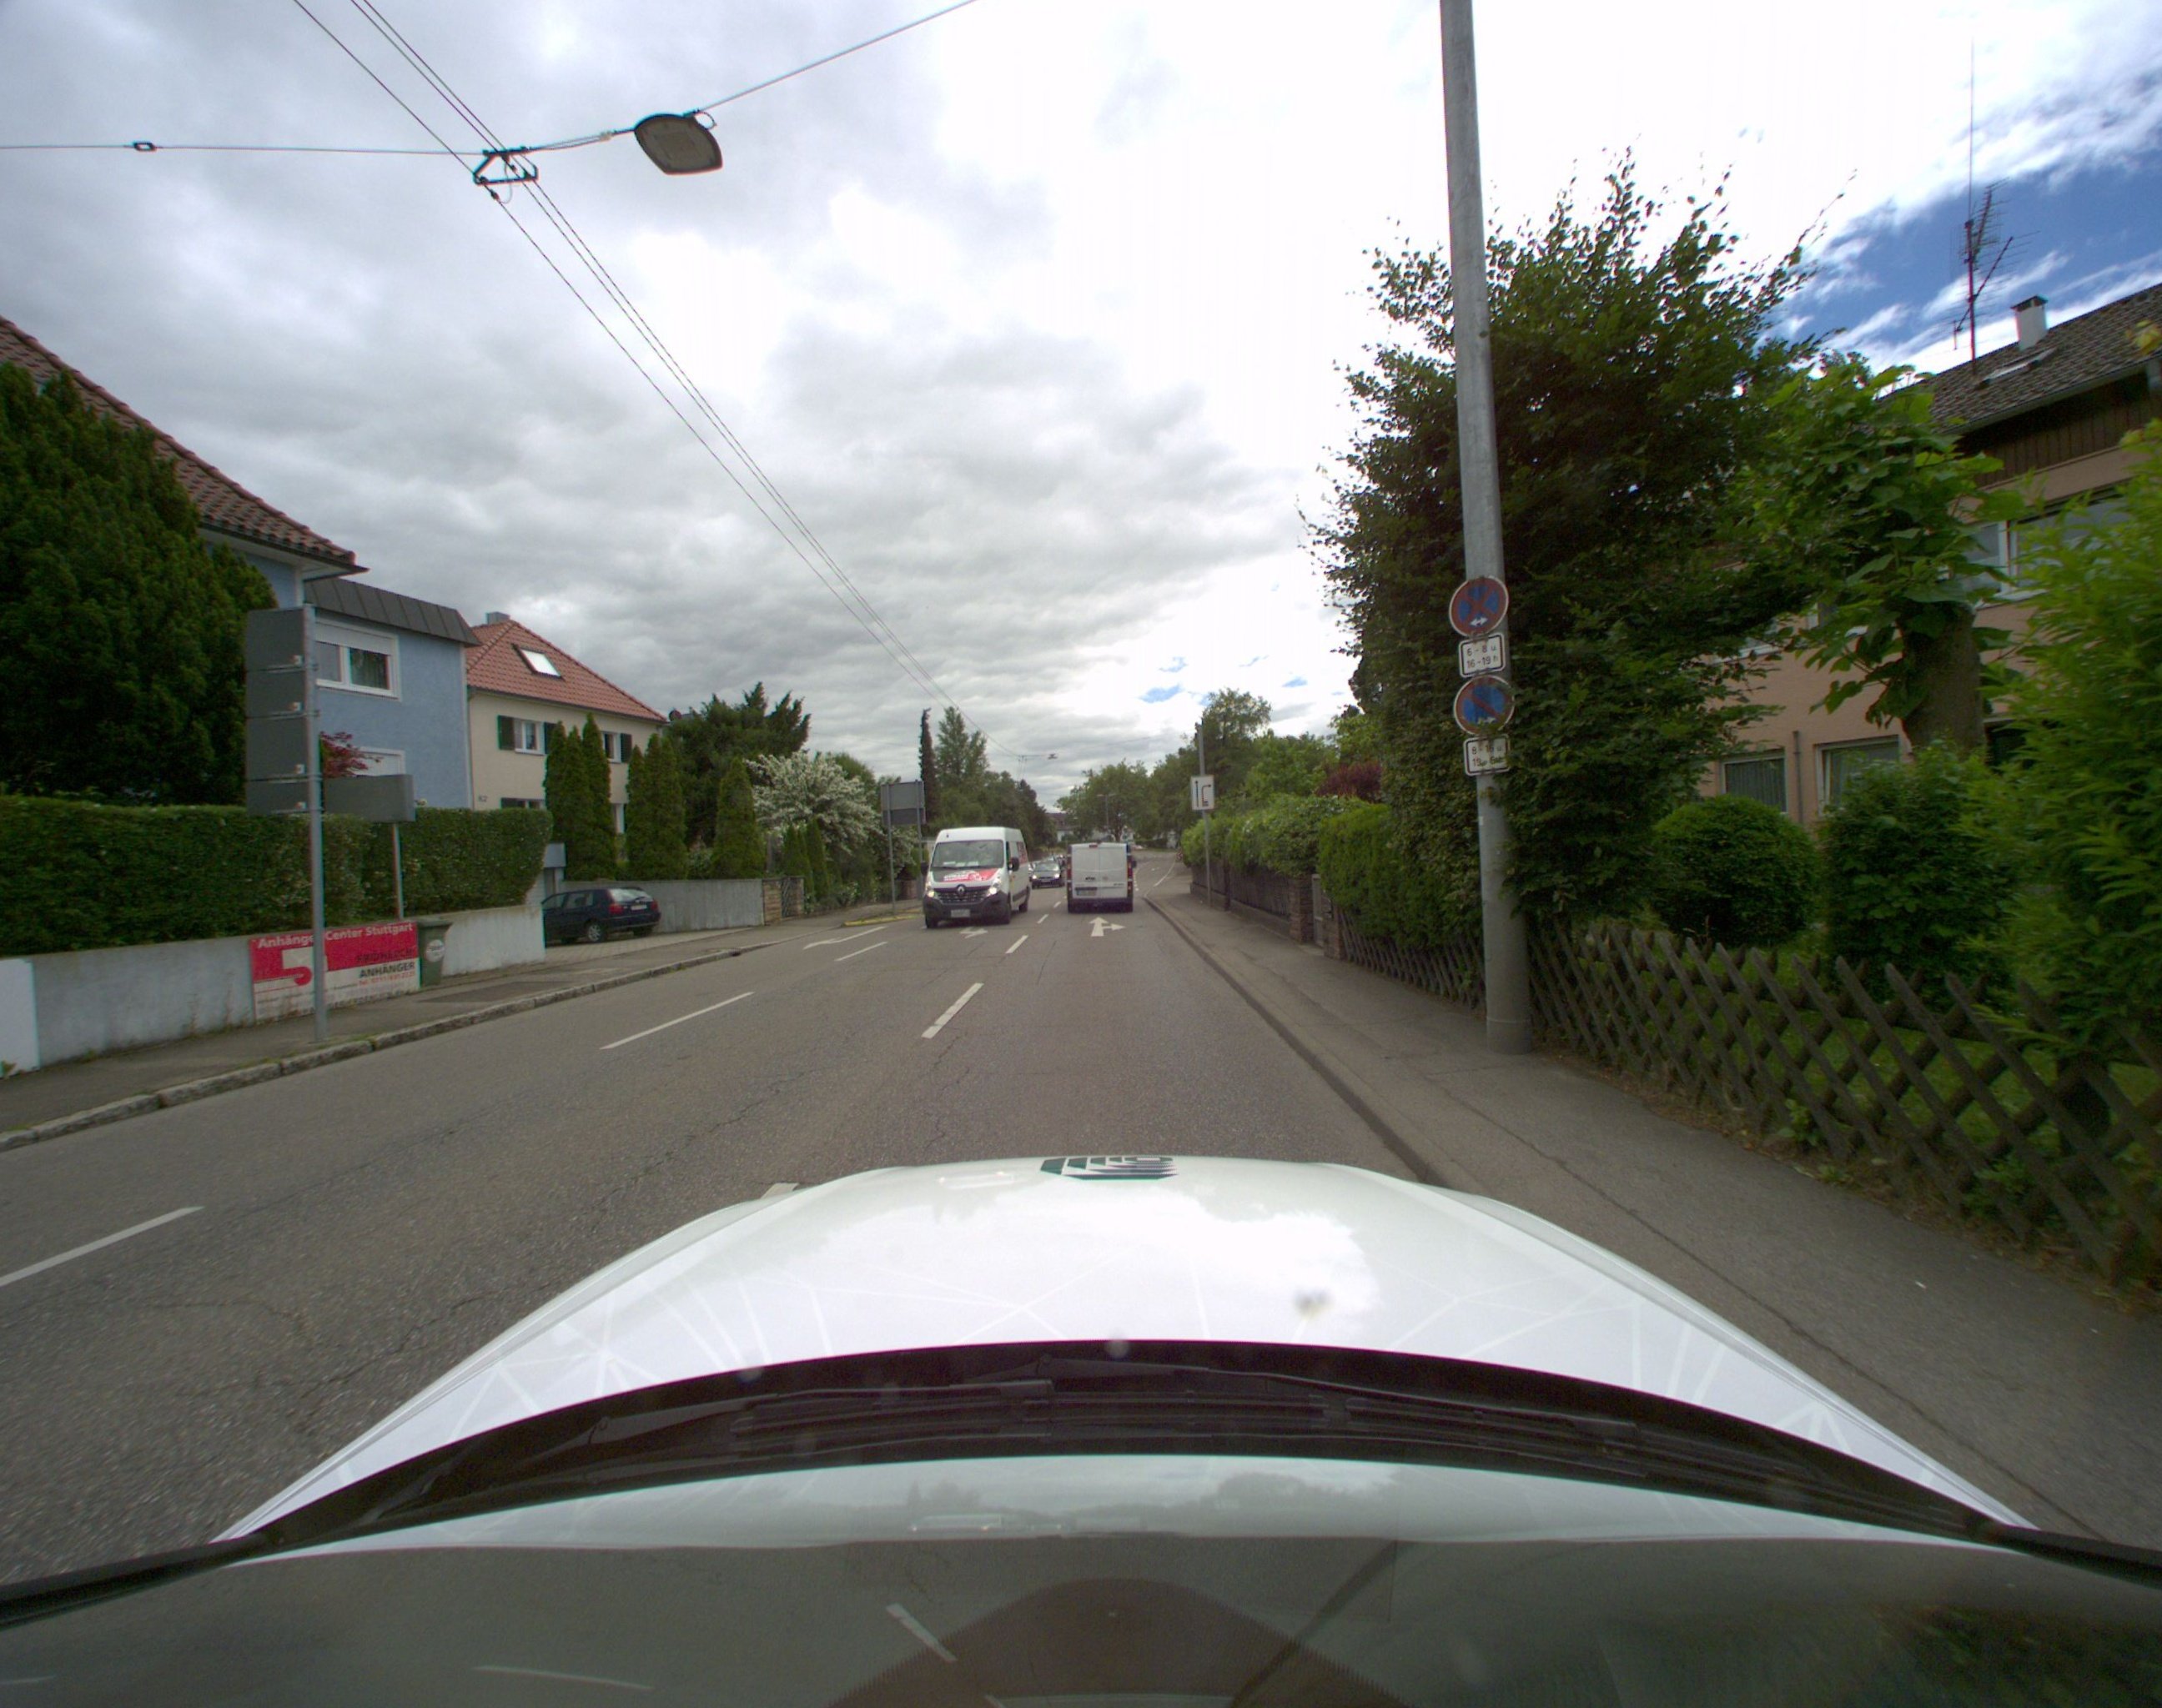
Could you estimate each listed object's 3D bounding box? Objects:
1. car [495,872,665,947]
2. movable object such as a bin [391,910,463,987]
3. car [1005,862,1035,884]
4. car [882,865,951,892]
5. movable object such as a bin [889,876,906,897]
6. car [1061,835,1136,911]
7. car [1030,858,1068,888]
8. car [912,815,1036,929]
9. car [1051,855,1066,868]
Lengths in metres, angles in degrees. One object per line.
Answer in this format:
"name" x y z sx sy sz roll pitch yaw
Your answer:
"car" -12.921 1.413 21.056 3.561 1.592 1.649 -5 -1 15
"movable object such as a bin" -8.964 1.287 11.179 0.505 0.973 0.541 -3 -1 4
"car" -4.673 1.454 63.278 1.883 1.494 4.027 -4 0 1
"car" -9.877 1.455 49.142 3.566 1.391 1.855 -3 0 10
"movable object such as a bin" -8.387 1.497 37.234 0.534 0.942 0.511 -2 -1 14
"car" 0.508 0.512 24.534 1.999 2.038 5.010 -1 0 1
"car" -1.757 1.033 46.098 1.727 1.553 4.449 -3 0 2
"car" -2.605 0.395 21.637 2.103 2.498 6.128 -3 0 2
"car" -3.063 0.954 110.586 1.882 1.625 4.430 -3 0 0
